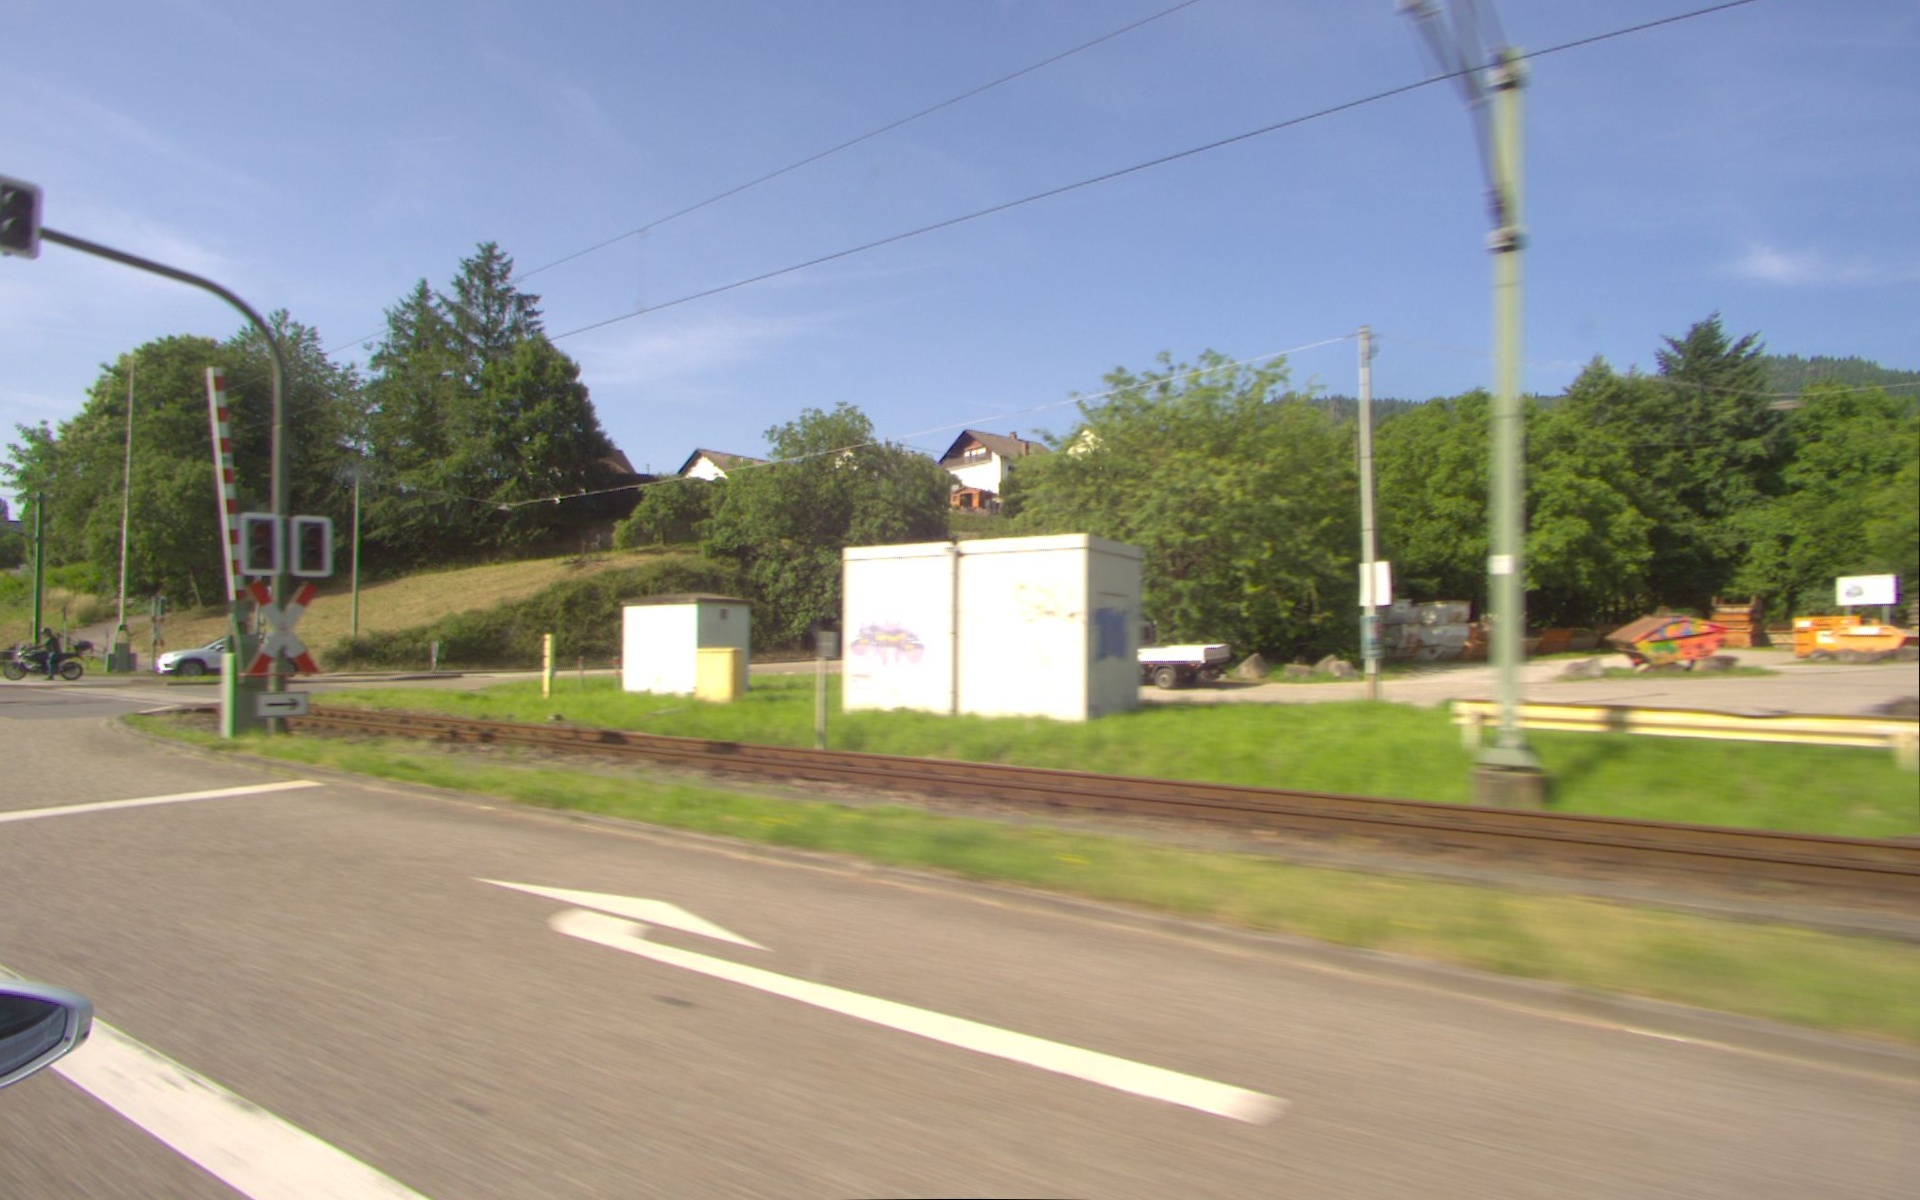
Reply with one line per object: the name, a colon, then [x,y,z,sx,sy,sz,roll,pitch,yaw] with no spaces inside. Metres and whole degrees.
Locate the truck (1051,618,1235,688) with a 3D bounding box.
truck: [6.356,1.847,35.125,5.860,2.261,2.393,-3,-2,35]

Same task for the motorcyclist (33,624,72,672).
motorcyclist: [-31.144,1.636,34.386,0.899,1.617,0.759,3,-3,-39]

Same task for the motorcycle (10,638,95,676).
motorcycle: [-31.132,1.946,34.396,2.076,1.270,0.793,3,-3,-39]

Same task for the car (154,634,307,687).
car: [-25.269,2.087,34.758,4.087,1.707,1.817,4,-3,-44]
